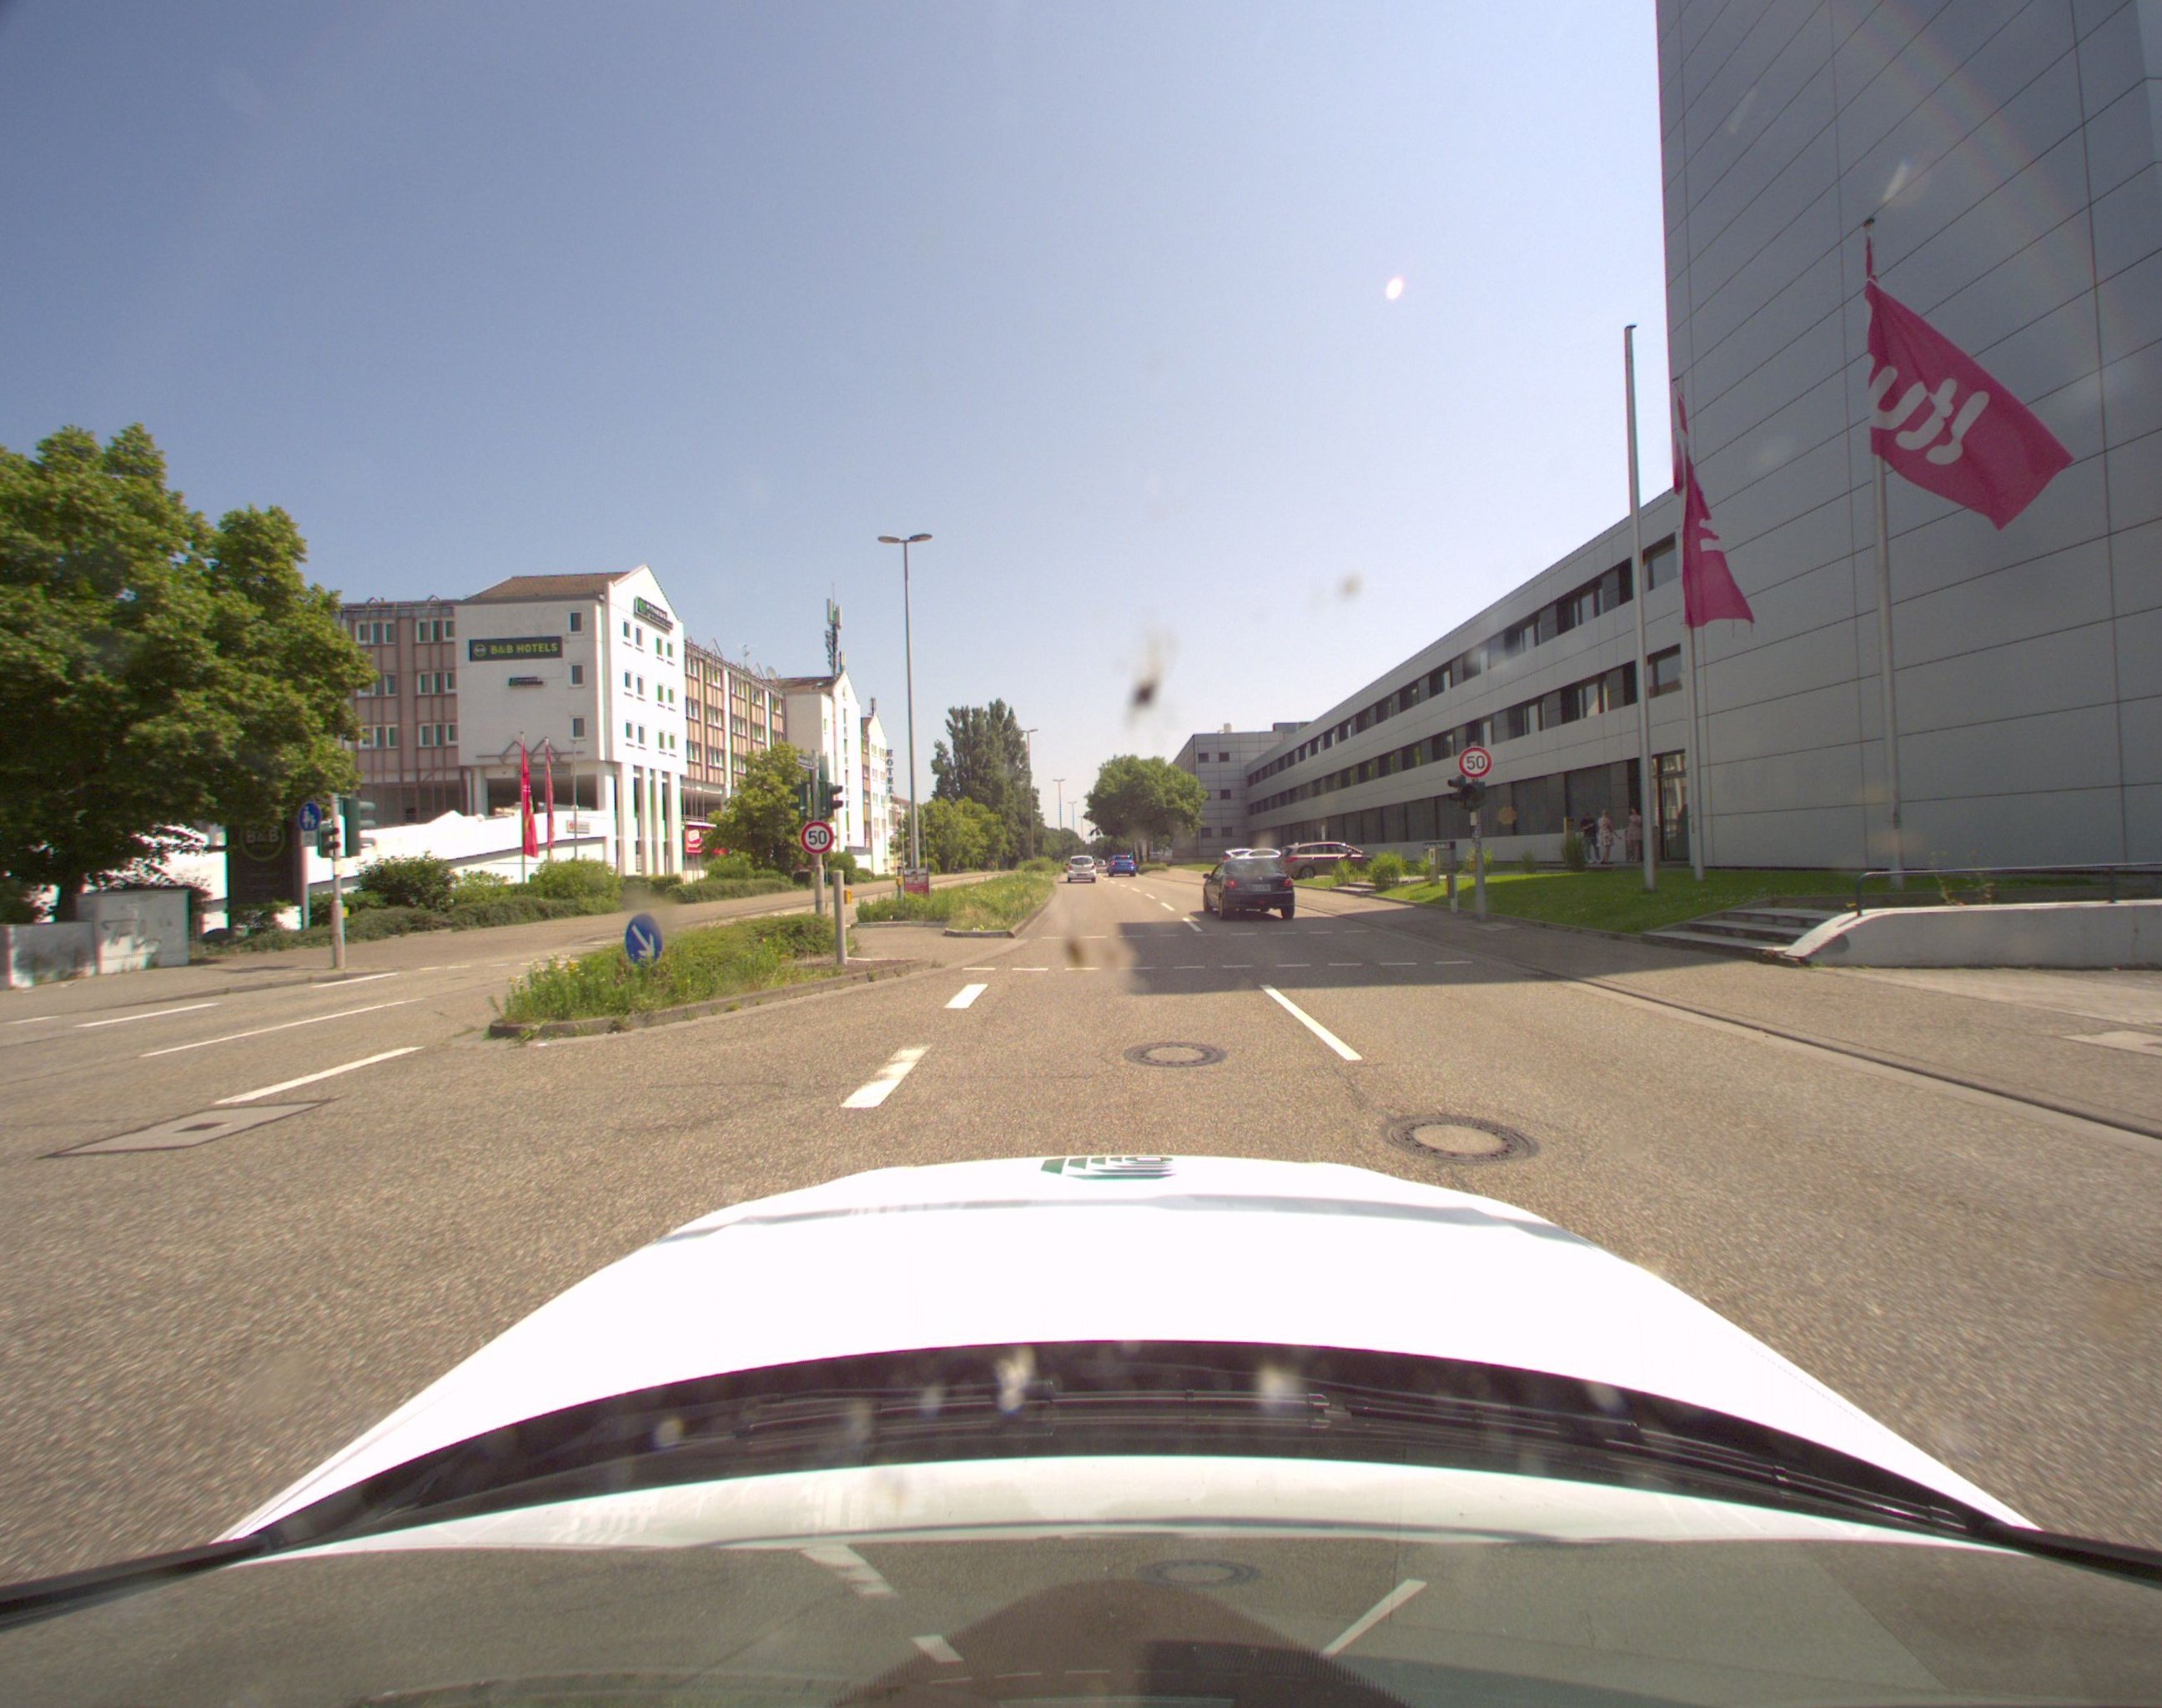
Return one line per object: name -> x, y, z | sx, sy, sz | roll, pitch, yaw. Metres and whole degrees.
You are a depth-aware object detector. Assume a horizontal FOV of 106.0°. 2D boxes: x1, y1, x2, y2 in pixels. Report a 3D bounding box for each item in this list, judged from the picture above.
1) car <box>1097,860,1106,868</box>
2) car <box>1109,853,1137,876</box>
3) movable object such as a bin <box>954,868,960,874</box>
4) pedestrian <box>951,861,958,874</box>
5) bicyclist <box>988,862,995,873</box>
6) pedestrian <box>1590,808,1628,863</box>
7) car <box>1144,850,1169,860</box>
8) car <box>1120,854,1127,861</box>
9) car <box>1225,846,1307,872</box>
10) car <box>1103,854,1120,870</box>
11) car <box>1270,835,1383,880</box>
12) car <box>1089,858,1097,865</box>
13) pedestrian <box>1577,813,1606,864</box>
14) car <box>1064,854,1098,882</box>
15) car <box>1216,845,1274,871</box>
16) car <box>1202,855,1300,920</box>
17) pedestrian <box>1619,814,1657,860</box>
car -> 4.440, 2.219, 177.011 | 1.813, 1.662, 4.000 | -2, 0, 1
car -> 3.048, 0.741, 59.569 | 1.822, 1.580, 3.604 | -2, 0, 0
movable object such as a bin -> -14.231, 1.941, 93.330 | 0.425, 0.705, 0.654 | -3, -1, 10
pedestrian -> -14.527, 1.540, 93.792 | 0.630, 1.545, 0.727 | -3, -1, 1
bicyclist -> -12.287, 1.892, 111.986 | 0.715, 1.516, 1.026 | -3, -1, -2
pedestrian -> 16.356, -0.565, 25.236 | 0.523, 1.663, 0.753 | -3, 0, -16
car -> 13.717, 0.240, 148.182 | 4.483, 1.583, 2.000 | -3, -1, 1
car -> 13.508, 1.163, 260.031 | 1.765, 2.013, 3.988 | -3, 0, -2
car -> 11.610, 0.331, 51.314 | 4.602, 1.390, 1.998 | -3, 0, -3
car -> 3.068, 0.786, 81.247 | 1.552, 1.520, 3.610 | -2, 0, 5
car -> 10.649, 0.156, 35.540 | 4.249, 1.689, 1.998 | -3, 0, -3
car -> 3.168, 2.096, 220.540 | 1.815, 1.662, 3.997 | -2, 0, -2
pedestrian -> 16.643, -0.506, 26.566 | 0.589, 1.634, 0.525 | -3, 0, 10
car -> 0.047, 0.799, 47.653 | 1.741, 1.520, 3.749 | -1, 0, 3
car -> 12.092, 0.270, 60.040 | 3.804, 1.592, 1.730 | -5, 0, -3
car -> 3.960, 0.728, 19.482 | 1.621, 1.364, 3.606 | -1, 0, 1
pedestrian -> 17.500, -0.513, 25.592 | 0.521, 1.405, 0.797 | -3, 0, -8
